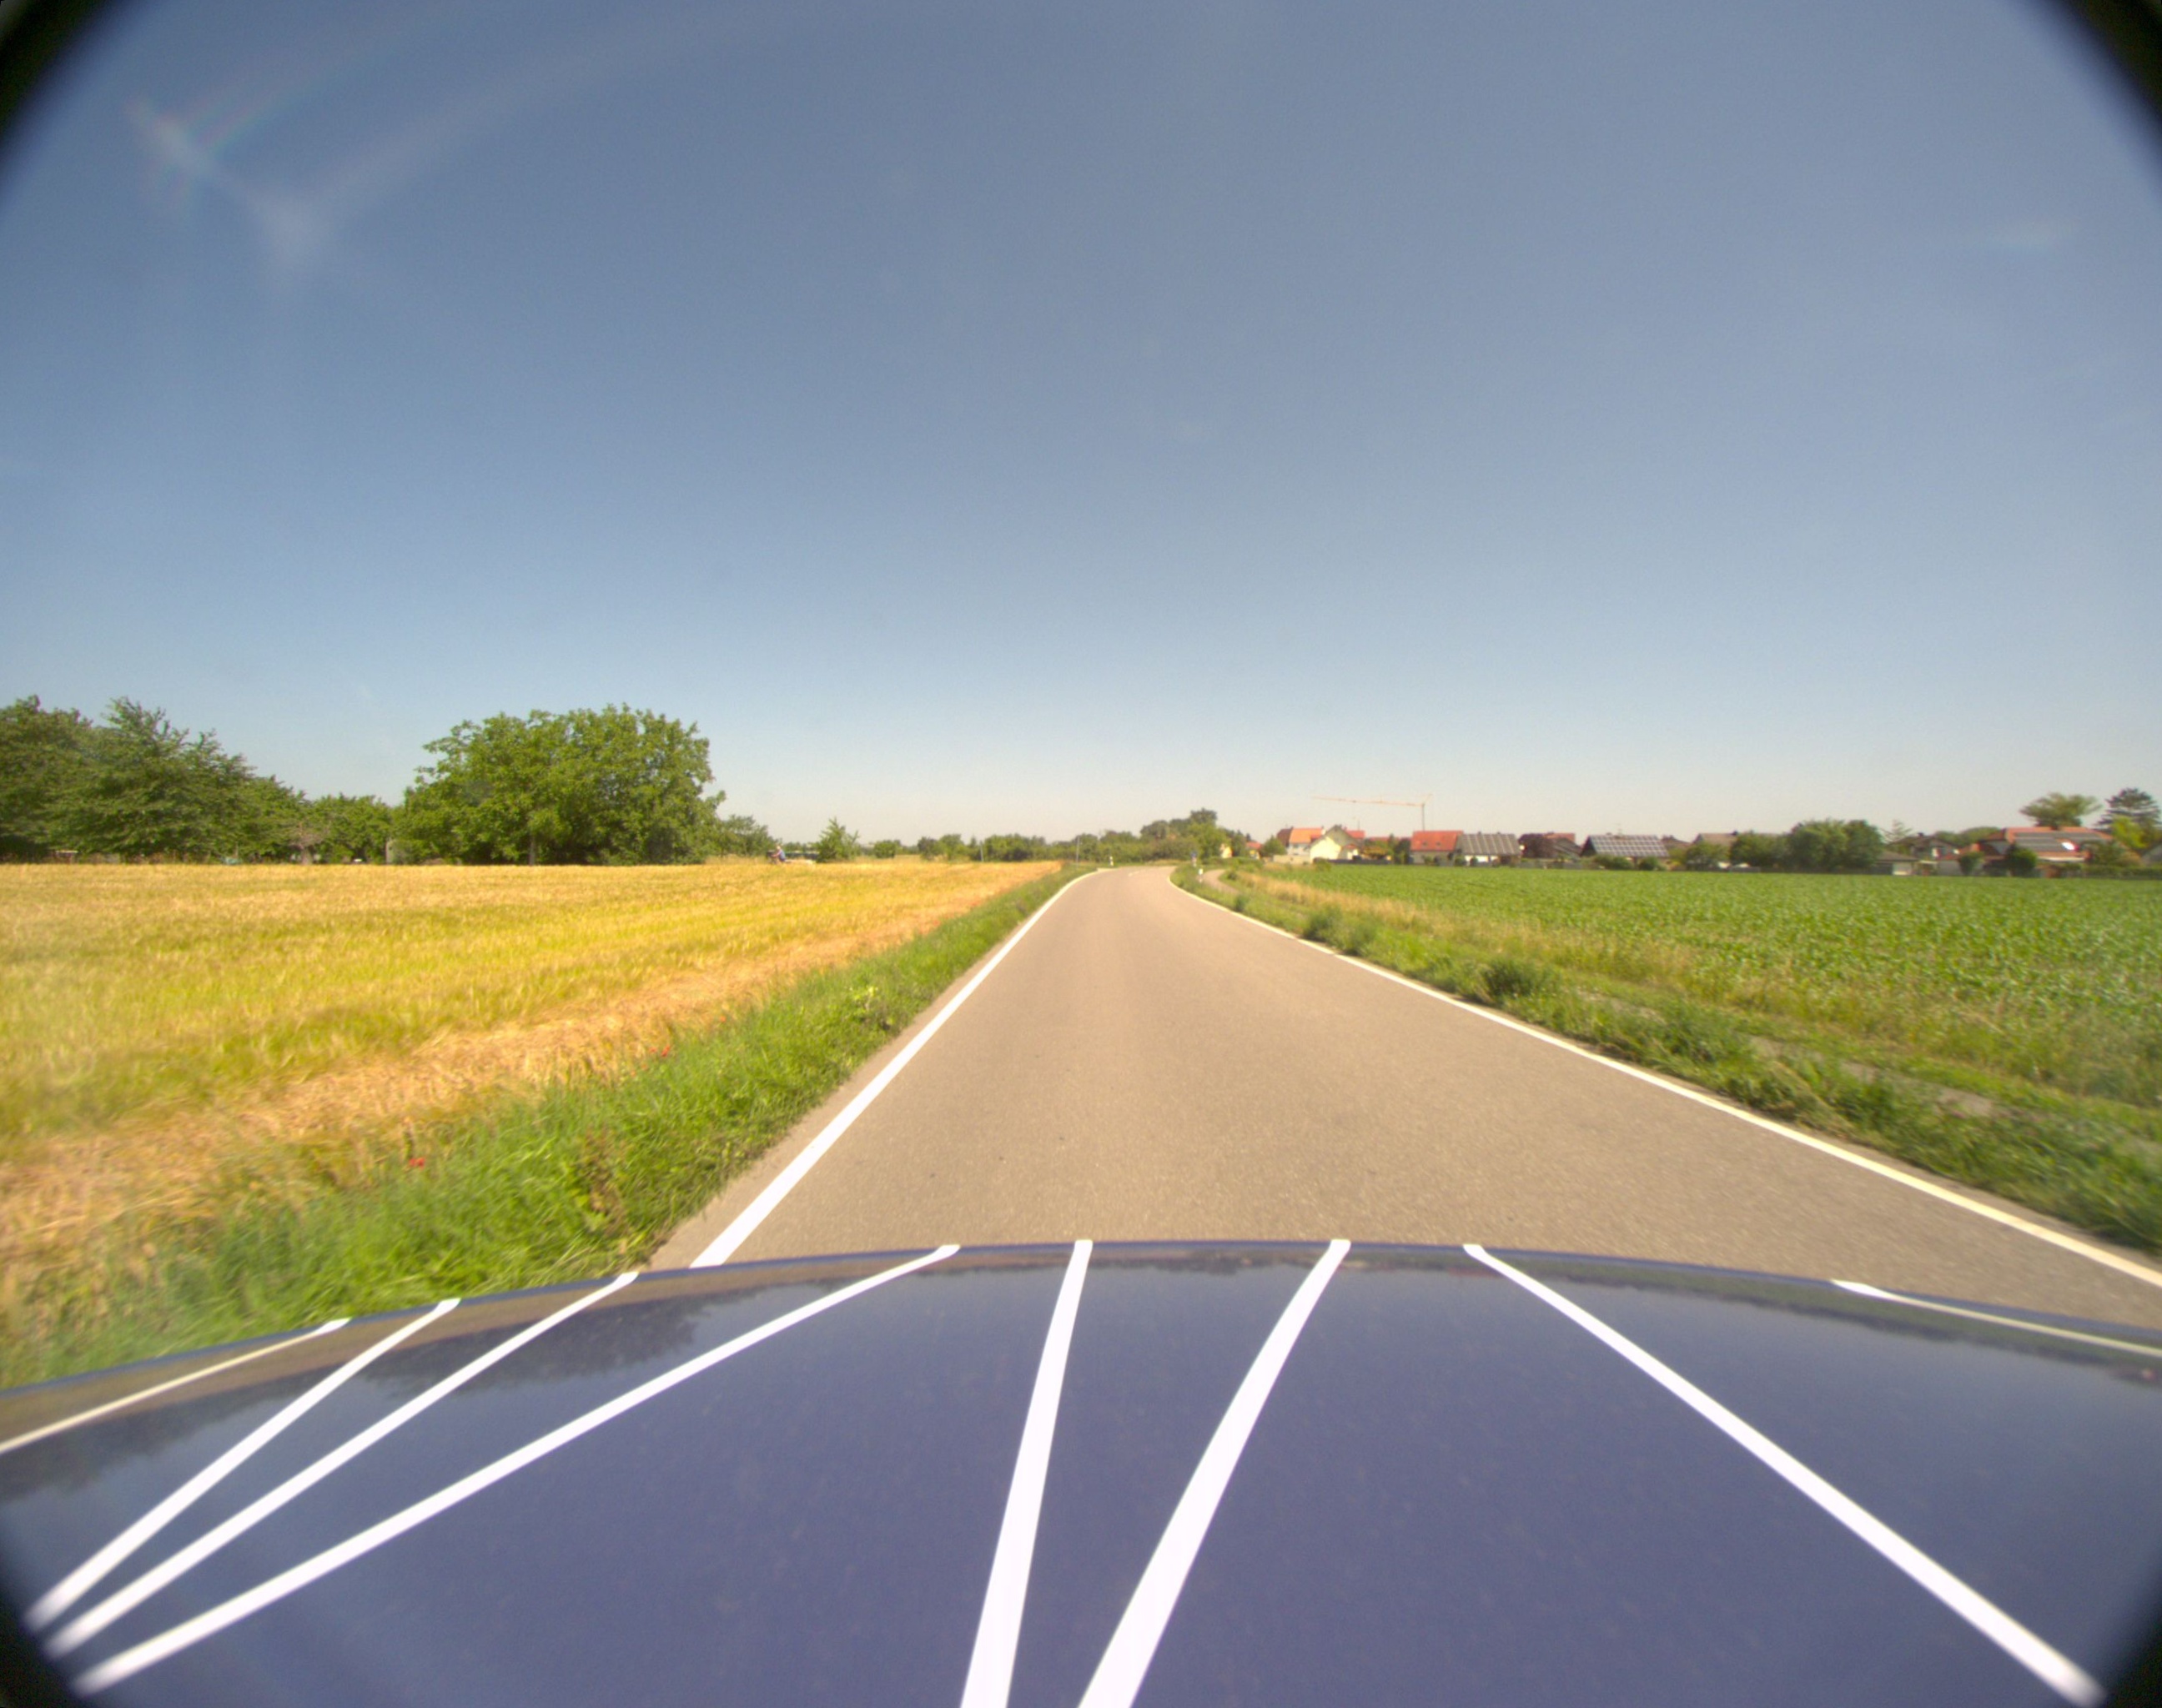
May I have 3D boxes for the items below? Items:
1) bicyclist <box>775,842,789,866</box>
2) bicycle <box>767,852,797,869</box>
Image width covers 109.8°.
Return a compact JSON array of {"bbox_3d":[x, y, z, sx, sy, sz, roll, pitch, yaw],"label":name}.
[{"bbox_3d":[-19.871,0.022,50.463,0.737,1.564,0.673,0,1,-38],"label":"bicyclist"},{"bbox_3d":[-19.876,0.404,50.469,1.773,1.109,0.520,0,1,-38],"label":"bicycle"}]
